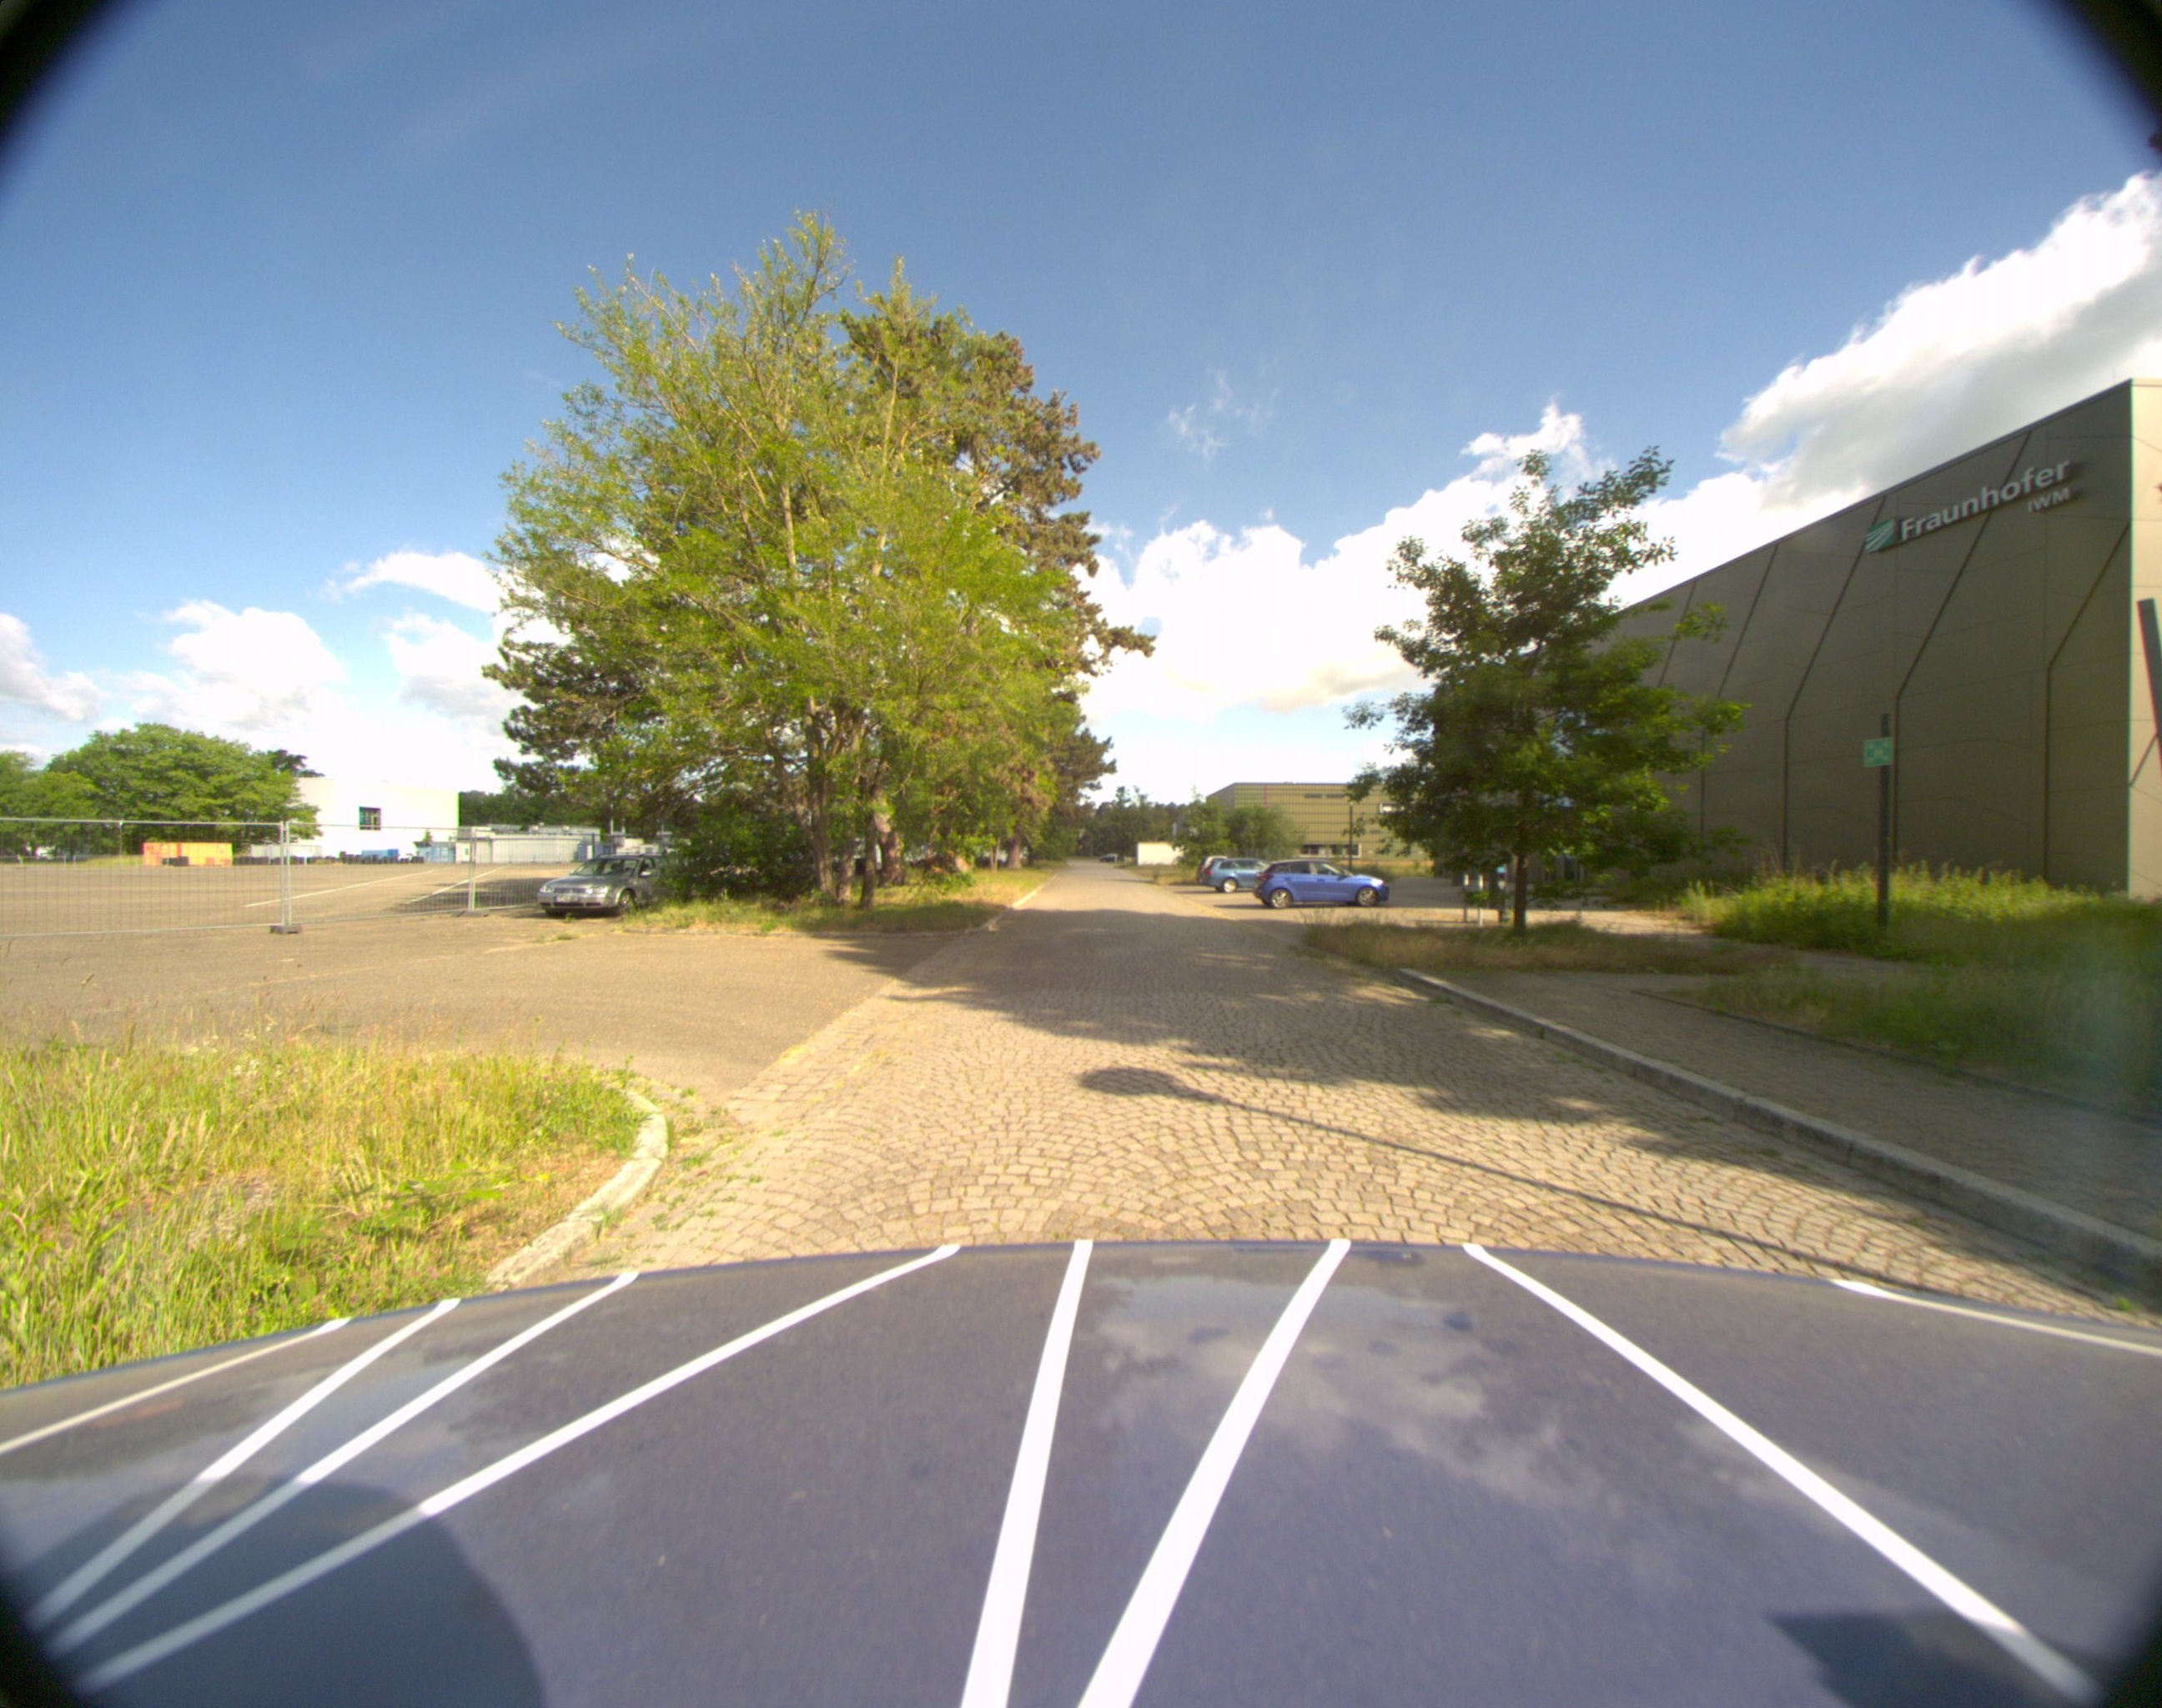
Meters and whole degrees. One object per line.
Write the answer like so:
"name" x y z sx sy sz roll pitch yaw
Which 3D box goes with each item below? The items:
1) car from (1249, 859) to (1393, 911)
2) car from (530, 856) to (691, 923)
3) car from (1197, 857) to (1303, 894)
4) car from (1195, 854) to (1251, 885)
"car" 7.323 0.941 23.507 3.918 1.459 1.735 -1 0 3
"car" -11.191 0.775 18.429 1.579 1.435 3.985 0 0 -3
"car" 7.274 0.896 33.022 4.180 1.465 1.734 -1 0 -2
"car" 7.507 0.825 40.351 2.652 1.559 1.481 -1 1 -1
